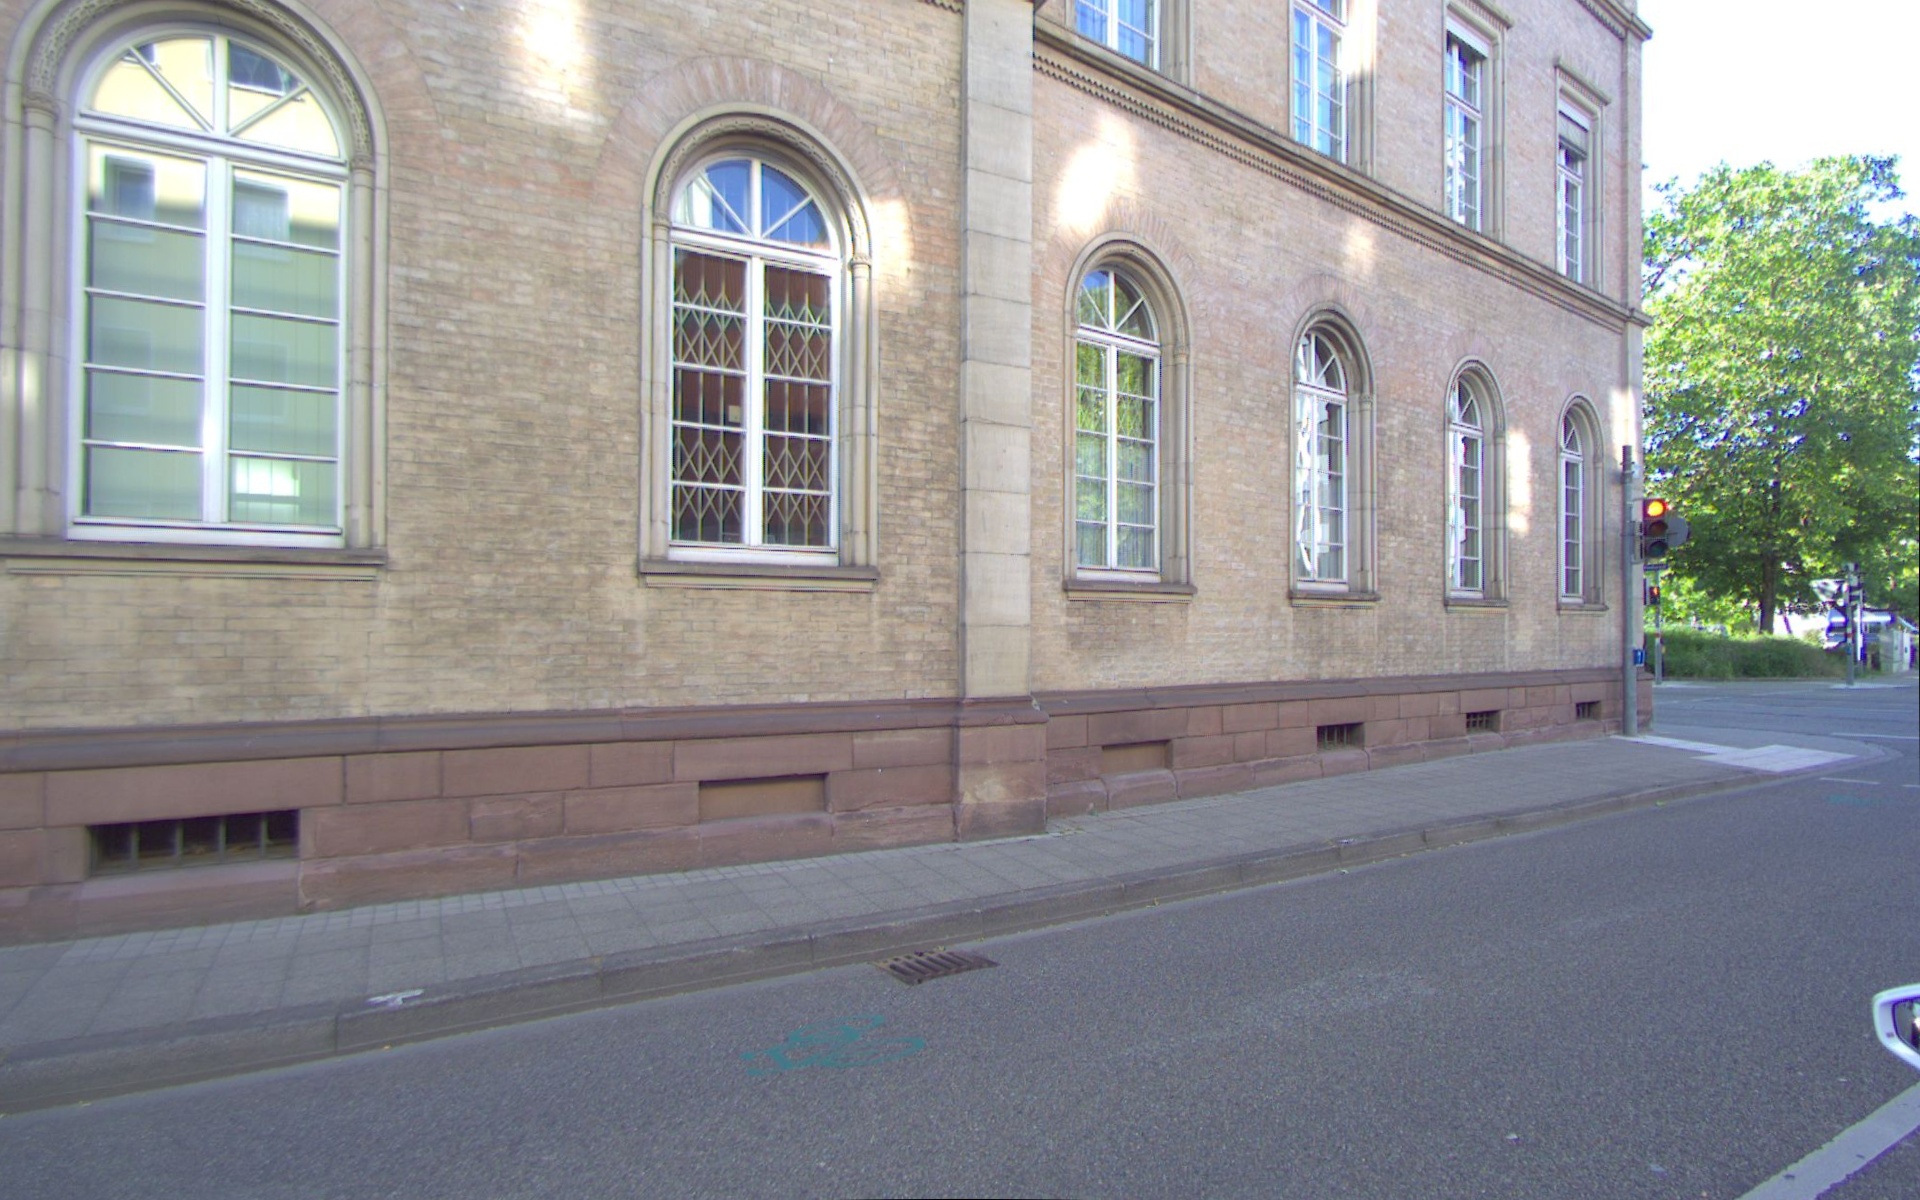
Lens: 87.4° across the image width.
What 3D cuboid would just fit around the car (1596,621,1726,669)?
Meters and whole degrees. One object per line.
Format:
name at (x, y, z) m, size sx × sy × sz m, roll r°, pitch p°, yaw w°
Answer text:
car at (24.398, 1.523, 35.035) m, size 1.636 × 1.476 × 3.382 m, roll 2°, pitch 0°, yaw -39°

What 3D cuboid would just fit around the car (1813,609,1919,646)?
car at (53.518, 1.601, 59.398) m, size 1.983 × 2.040 × 4.409 m, roll 2°, pitch 0°, yaw -38°
